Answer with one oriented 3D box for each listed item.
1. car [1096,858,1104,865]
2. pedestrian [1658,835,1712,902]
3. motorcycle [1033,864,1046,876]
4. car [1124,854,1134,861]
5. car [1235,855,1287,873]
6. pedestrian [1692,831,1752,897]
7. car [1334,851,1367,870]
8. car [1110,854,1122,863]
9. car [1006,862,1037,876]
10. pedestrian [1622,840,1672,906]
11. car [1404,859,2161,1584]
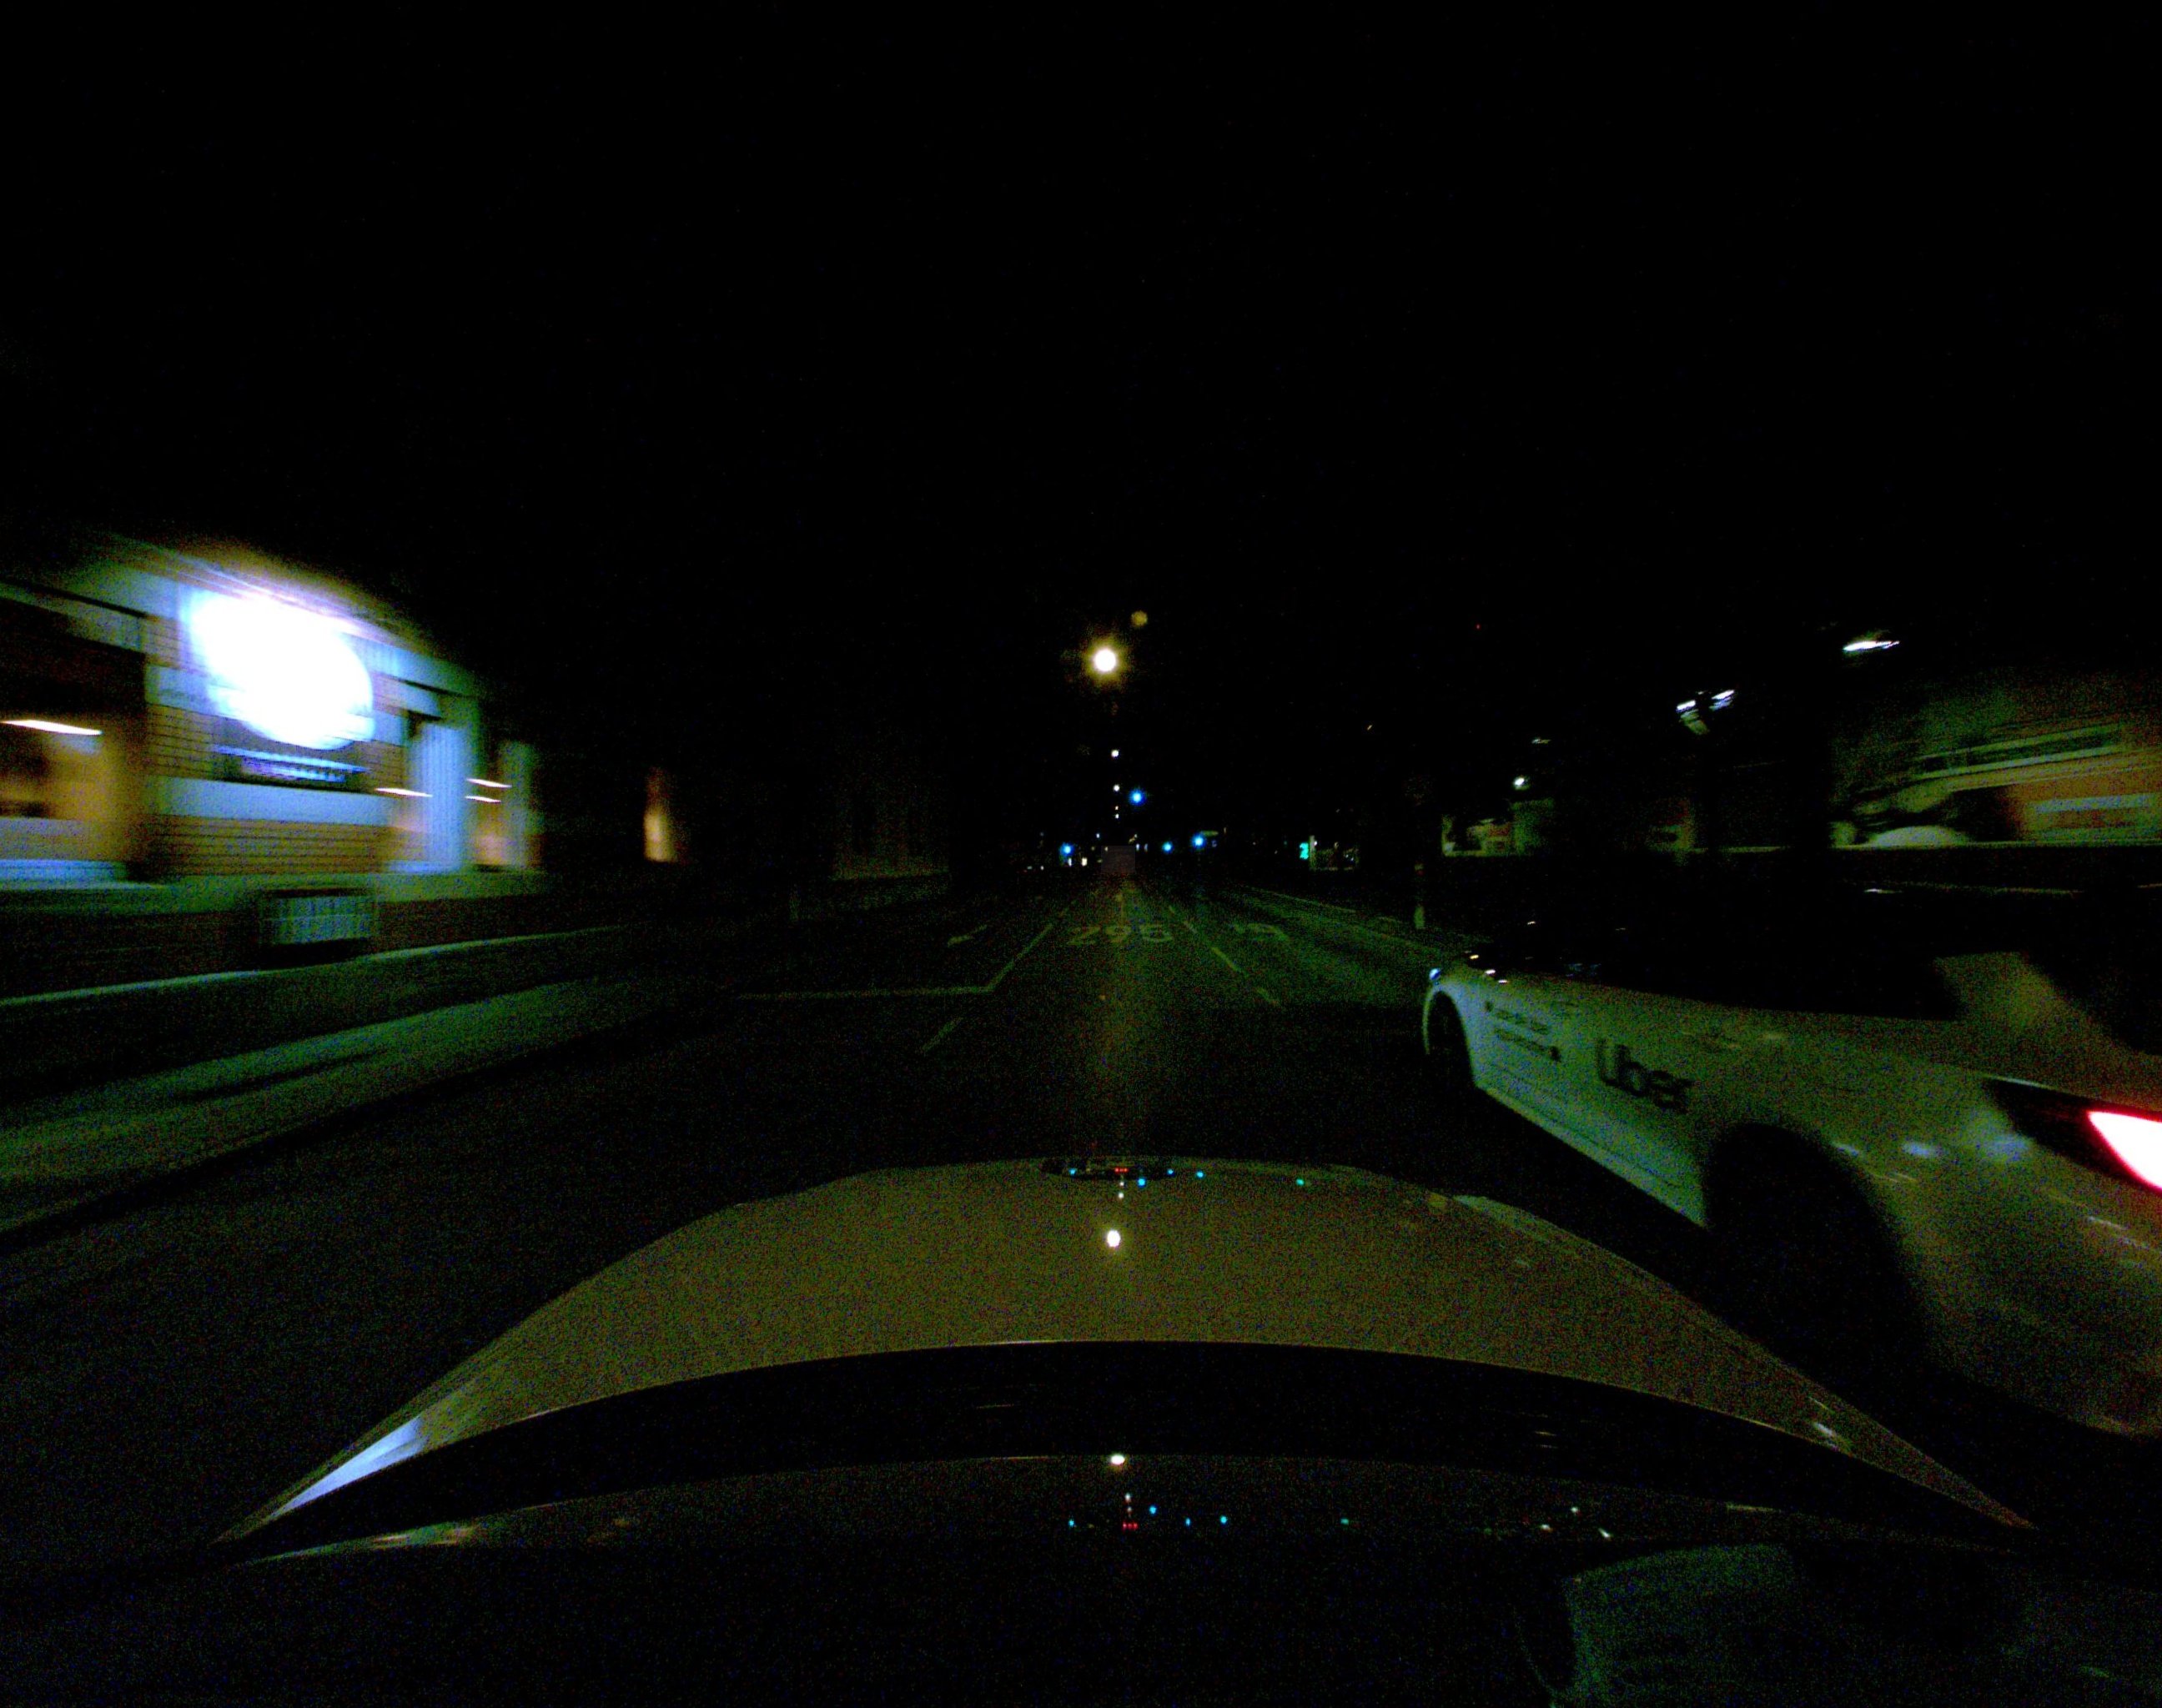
[{"bbox_3d":[4.130,1.648,179.526,1.771,1.390,4.000,-2,-1,1],"label":"car"},{"bbox_3d":[16.359,0.386,22.081,0.736,1.769,0.907,-2,-1,2],"label":"pedestrian"},{"bbox_3d":[-4.360,1.722,85.745,0.782,1.204,2.436,-1,-1,-16],"label":"motorcycle"},{"bbox_3d":[11.438,0.795,193.793,1.987,1.596,3.999,-2,0,0],"label":"car"},{"bbox_3d":[14.605,0.809,66.293,3.968,1.386,1.774,-2,-1,5],"label":"car"},{"bbox_3d":[17.662,0.277,22.457,0.897,1.769,0.907,-2,-1,2],"label":"pedestrian"},{"bbox_3d":[22.364,0.544,67.734,1.567,1.487,3.833,-2,-1,2],"label":"car"},{"bbox_3d":[6.309,0.860,146.570,1.987,1.640,4.000,-1,-1,1],"label":"car"},{"bbox_3d":[-6.505,1.613,88.478,1.814,1.486,3.962,-1,-1,-29],"label":"car"},{"bbox_3d":[15.576,0.512,22.428,0.711,1.769,0.907,-2,-1,2],"label":"pedestrian"},{"bbox_3d":[3.059,0.768,3.698,1.722,1.435,4.214,1,-1,3],"label":"car"}]
